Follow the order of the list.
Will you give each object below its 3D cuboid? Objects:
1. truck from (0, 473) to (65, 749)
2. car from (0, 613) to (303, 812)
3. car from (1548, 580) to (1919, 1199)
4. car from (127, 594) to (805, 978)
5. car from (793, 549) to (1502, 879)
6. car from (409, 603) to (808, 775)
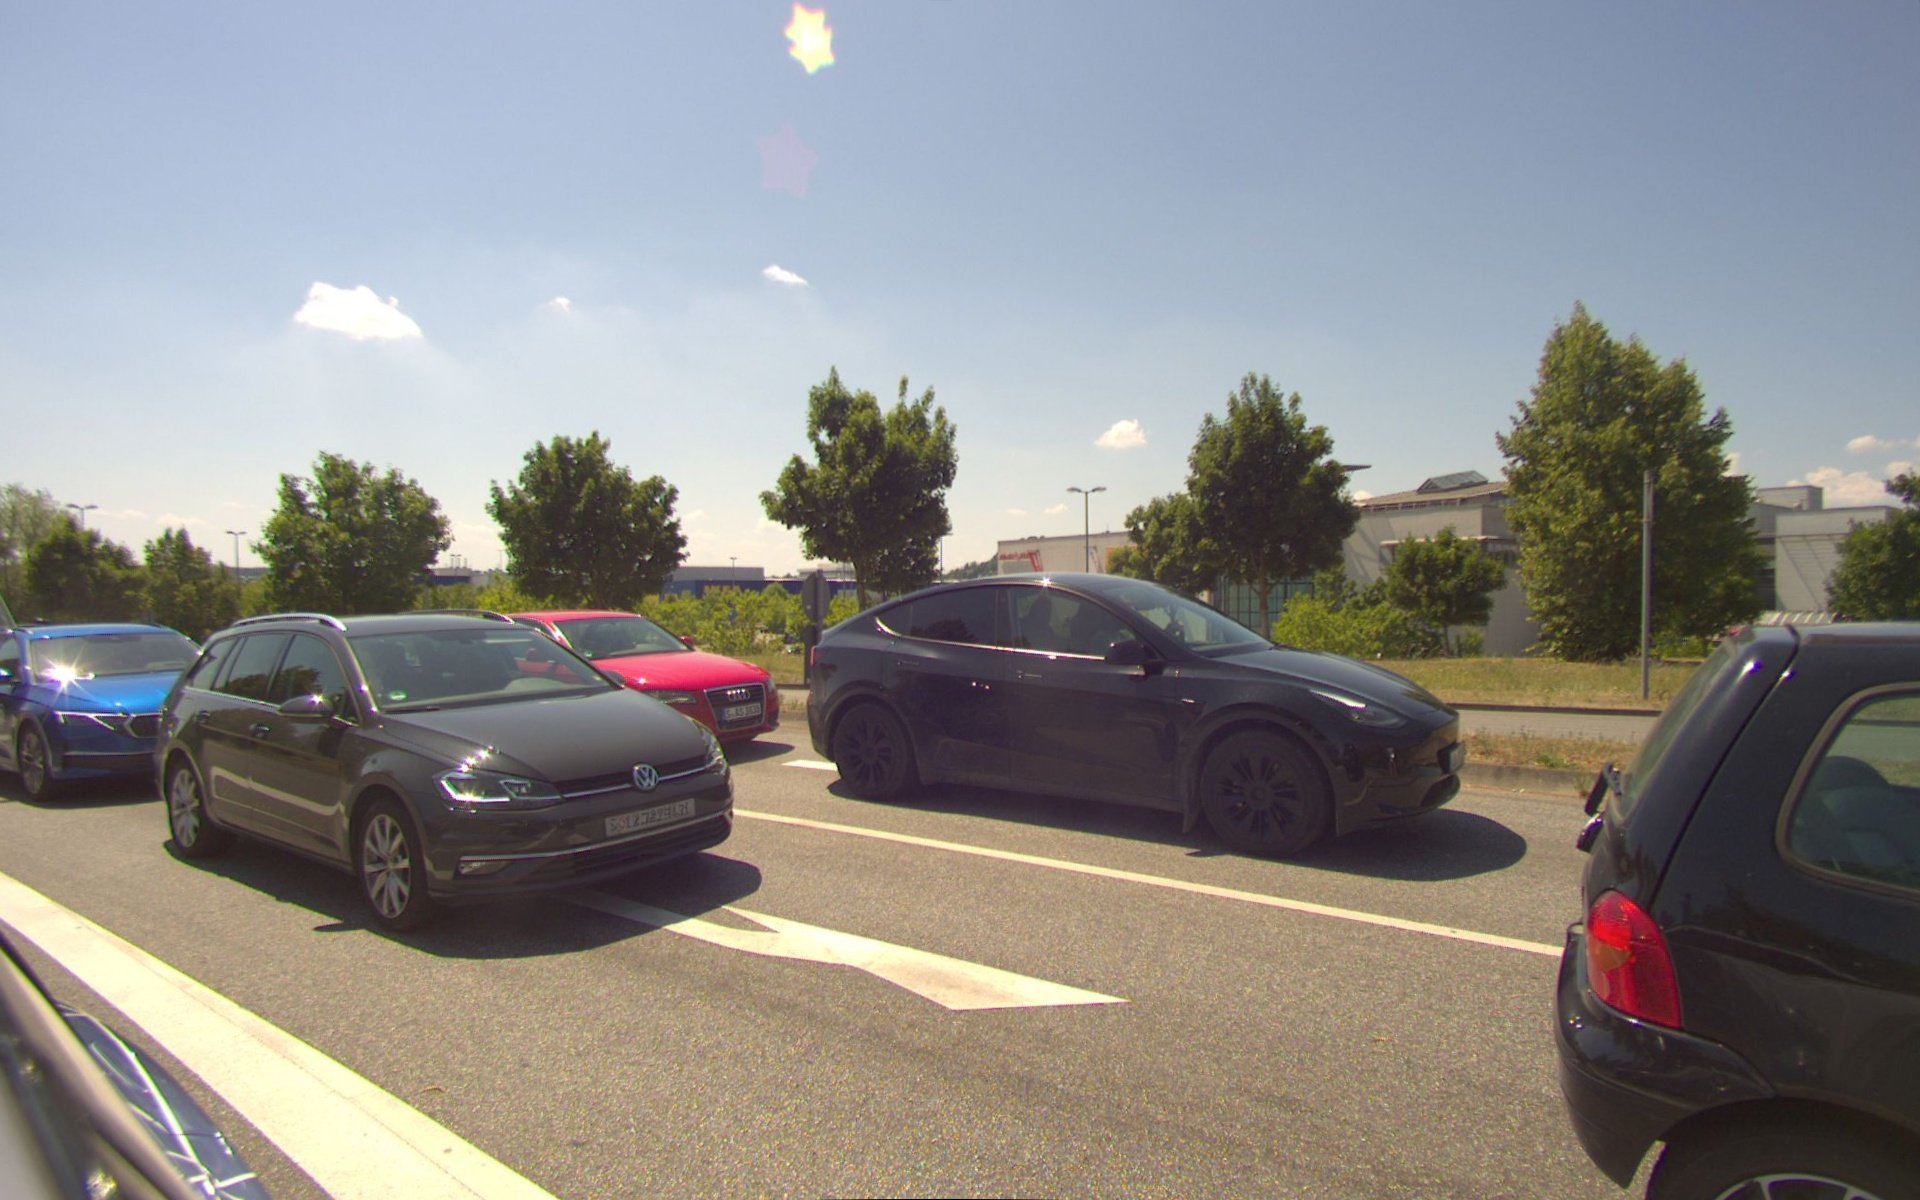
[{"bbox_3d":[-15.106,0.282,13.720,7.176,3.373,2.390,-3,-1,31],"label":"truck"},{"bbox_3d":[-8.318,0.946,9.642,4.474,1.473,1.695,-2,0,32],"label":"car"},{"bbox_3d":[2.885,0.666,1.523,3.295,1.418,1.604,-1,-1,37],"label":"car"},{"bbox_3d":[-3.127,0.763,5.993,4.420,1.493,1.762,-1,0,36],"label":"car"},{"bbox_3d":[1.110,0.579,7.043,4.496,1.613,1.859,-1,0,36],"label":"car"},{"bbox_3d":[-3.765,0.781,10.483,4.440,1.399,1.646,-1,1,36],"label":"car"}]
